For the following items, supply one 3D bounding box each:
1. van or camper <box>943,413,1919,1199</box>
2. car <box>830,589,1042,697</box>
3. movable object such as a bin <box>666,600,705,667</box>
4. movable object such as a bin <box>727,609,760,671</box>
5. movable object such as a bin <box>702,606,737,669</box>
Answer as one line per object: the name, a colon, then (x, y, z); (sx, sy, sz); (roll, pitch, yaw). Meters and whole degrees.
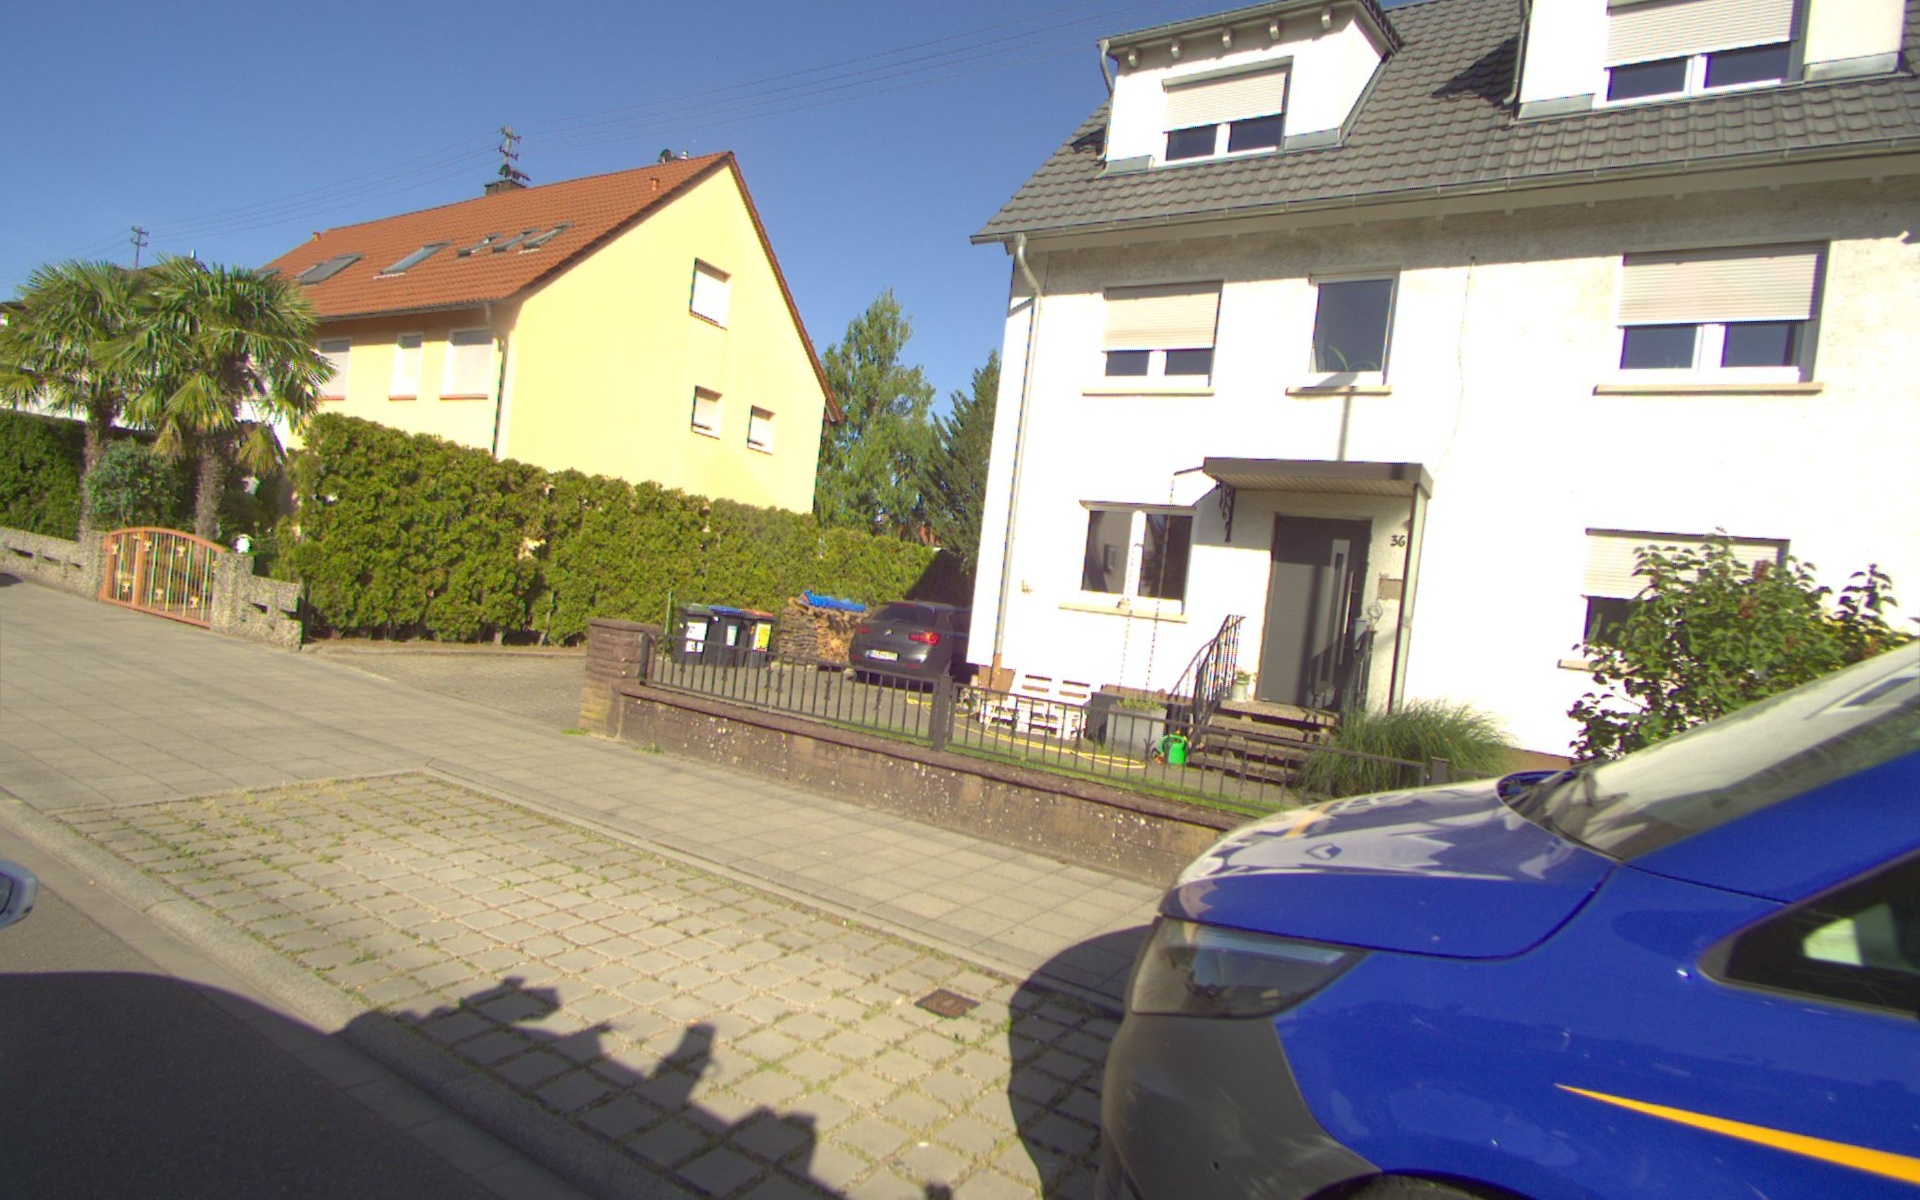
van or camper: (2.849, 0.893, 1.341); (5.490, 1.870, 1.951); (6, 1, 31)
car: (-0.273, 0.799, 17.062); (1.783, 1.437, 3.892); (6, -2, 28)
movable object such as a bin: (-4.164, 0.507, 15.272); (0.399, 0.961, 0.240); (7, -1, 29)
movable object such as a bin: (-3.455, 0.638, 16.055); (0.237, 0.936, 0.337); (7, -1, 32)
movable object such as a bin: (-3.705, 0.582, 15.514); (0.331, 0.936, 0.241); (7, -1, 17)
